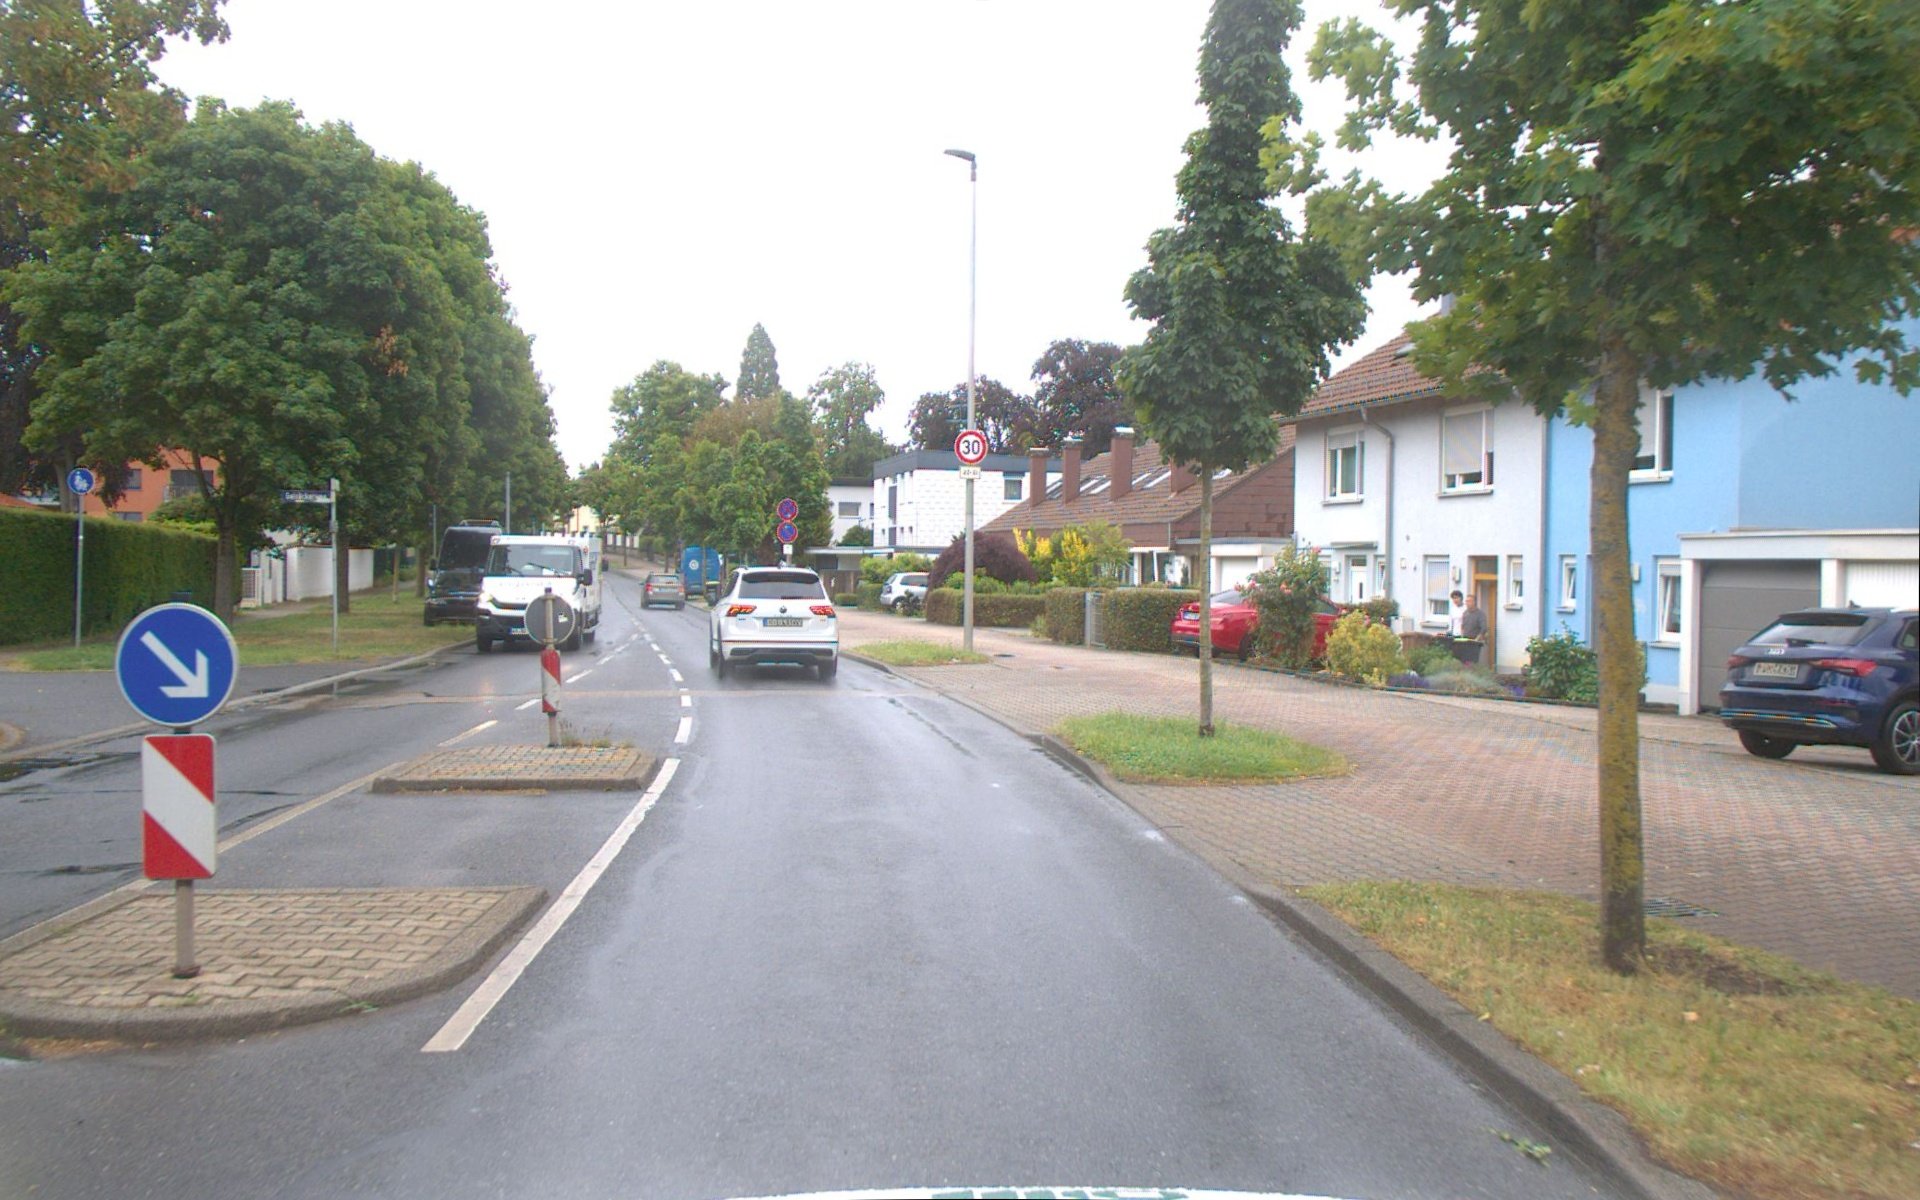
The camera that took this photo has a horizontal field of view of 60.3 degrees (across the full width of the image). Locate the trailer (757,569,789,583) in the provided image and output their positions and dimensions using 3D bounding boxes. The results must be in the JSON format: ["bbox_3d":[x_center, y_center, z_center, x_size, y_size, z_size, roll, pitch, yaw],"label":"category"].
[{"bbox_3d":[-12.368,-1.590,109.275,2.005,0.899,1.361,2,1,-11],"label":"trailer"}]

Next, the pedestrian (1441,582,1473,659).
[{"bbox_3d":[9.057,0.371,30.153,0.485,1.374,0.565,1,1,9],"label":"pedestrian"}]

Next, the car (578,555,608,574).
[{"bbox_3d":[-30.863,-2.982,139.152,1.621,1.452,3.970,1,2,-25],"label":"car"}]

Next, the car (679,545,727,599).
[{"bbox_3d":[-13.358,-1.491,85.583,1.960,2.631,5.614,-2,2,-13],"label":"car"}]

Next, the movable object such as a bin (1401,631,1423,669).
[{"bbox_3d":[7.835,0.872,28.684,0.251,0.637,0.324,0,1,-13],"label":"movable object such as a bin"}]

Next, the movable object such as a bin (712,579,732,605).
[{"bbox_3d":[-10.038,-0.344,69.722,0.601,1.032,0.563,-4,0,12],"label":"movable object such as a bin"}]

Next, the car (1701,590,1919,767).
[{"bbox_3d":[8.991,0.772,15.035,3.922,1.411,1.668,4,0,-16],"label":"car"}]

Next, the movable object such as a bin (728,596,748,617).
[{"bbox_3d":[-9.282,0.268,69.241,0.645,0.814,0.601,-3,1,12],"label":"movable object such as a bin"}]

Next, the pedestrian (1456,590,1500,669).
[{"bbox_3d":[9.277,0.522,29.614,0.529,1.374,0.525,0,1,-27],"label":"pedestrian"}]

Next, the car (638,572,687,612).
[{"bbox_3d":[-12.200,-0.335,67.733,1.739,1.578,3.986,0,1,-14],"label":"car"}]

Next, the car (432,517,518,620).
[{"bbox_3d":[-14.078,-0.930,48.326,1.959,2.776,5.919,2,1,-13],"label":"car"}]

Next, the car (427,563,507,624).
[{"bbox_3d":[-12.314,-0.194,41.470,1.693,1.433,3.812,1,1,-14],"label":"car"}]

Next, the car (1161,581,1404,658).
[{"bbox_3d":[5.993,0.365,30.704,4.246,1.282,1.667,2,1,-24],"label":"car"}]

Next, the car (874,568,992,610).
[{"bbox_3d":[-0.975,-0.399,59.169,3.921,1.467,1.840,0,1,-15],"label":"car"}]

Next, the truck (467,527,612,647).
[{"bbox_3d":[-8.707,-0.290,34.851,2.175,2.242,6.453,1,1,-8],"label":"truck"}]

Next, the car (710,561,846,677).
[{"bbox_3d":[-2.951,0.242,26.106,1.832,1.679,3.990,0,1,-11],"label":"car"}]
